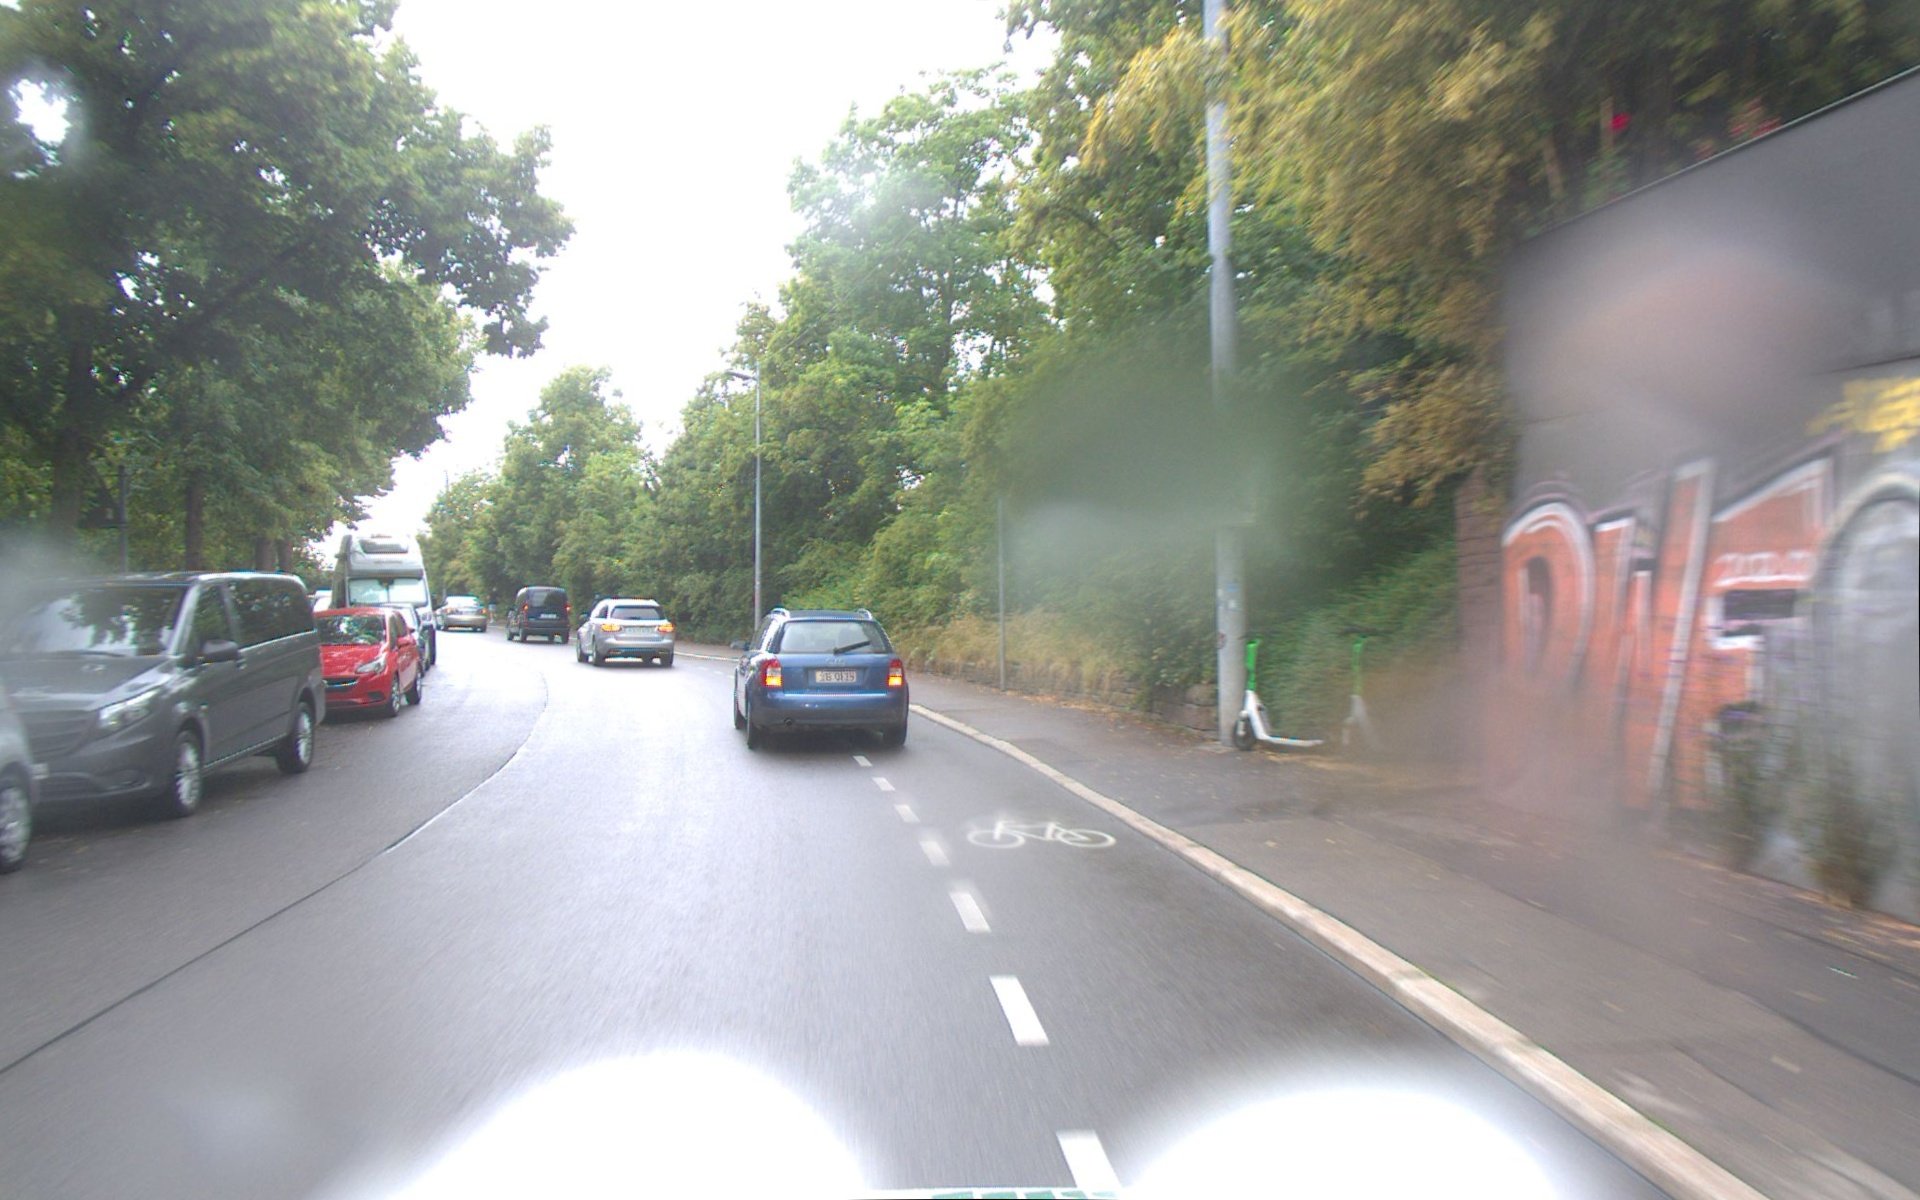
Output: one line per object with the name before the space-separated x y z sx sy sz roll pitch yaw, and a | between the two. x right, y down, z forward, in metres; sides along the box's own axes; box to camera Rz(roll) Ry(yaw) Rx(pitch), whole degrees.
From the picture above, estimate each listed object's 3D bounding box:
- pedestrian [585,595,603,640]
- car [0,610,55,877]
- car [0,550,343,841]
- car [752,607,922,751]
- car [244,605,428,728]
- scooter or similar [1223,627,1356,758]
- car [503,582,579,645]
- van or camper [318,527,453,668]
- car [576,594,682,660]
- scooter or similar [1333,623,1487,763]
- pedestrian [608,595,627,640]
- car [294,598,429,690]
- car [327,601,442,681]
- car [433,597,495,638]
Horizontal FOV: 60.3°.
pedestrian | -12.844 0.613 58.110 0.544 1.594 0.484 -1 0 -20
car | -6.389 0.890 8.581 1.652 1.579 3.760 -4 0 -8
car | -6.980 0.657 14.210 1.918 2.002 4.994 -4 1 -7
car | -1.469 0.801 18.700 1.714 1.432 3.994 0 0 -7
car | -9.031 0.883 24.283 1.921 1.486 4.558 -3 1 -14
scooter or similar | 3.054 0.833 15.431 0.342 1.136 1.409 -4 2 -28
car | -14.303 0.480 56.294 1.766 1.987 3.969 -3 0 -25
van or camper | -14.207 -0.056 40.616 2.473 3.079 6.512 -3 1 -24
car | -7.631 0.587 37.886 1.862 1.413 3.978 0 0 -19
scooter or similar | 3.834 0.767 14.175 0.343 1.137 1.406 1 -1 -34
pedestrian | -12.080 0.607 58.331 0.587 1.594 0.665 0 0 -20
car | -10.716 0.739 29.831 1.922 1.432 3.530 -3 1 -15
car | -12.062 0.808 34.881 1.922 1.432 4.191 -3 1 -15
car | -20.715 0.730 69.001 1.800 1.645 3.752 -1 0 -27
